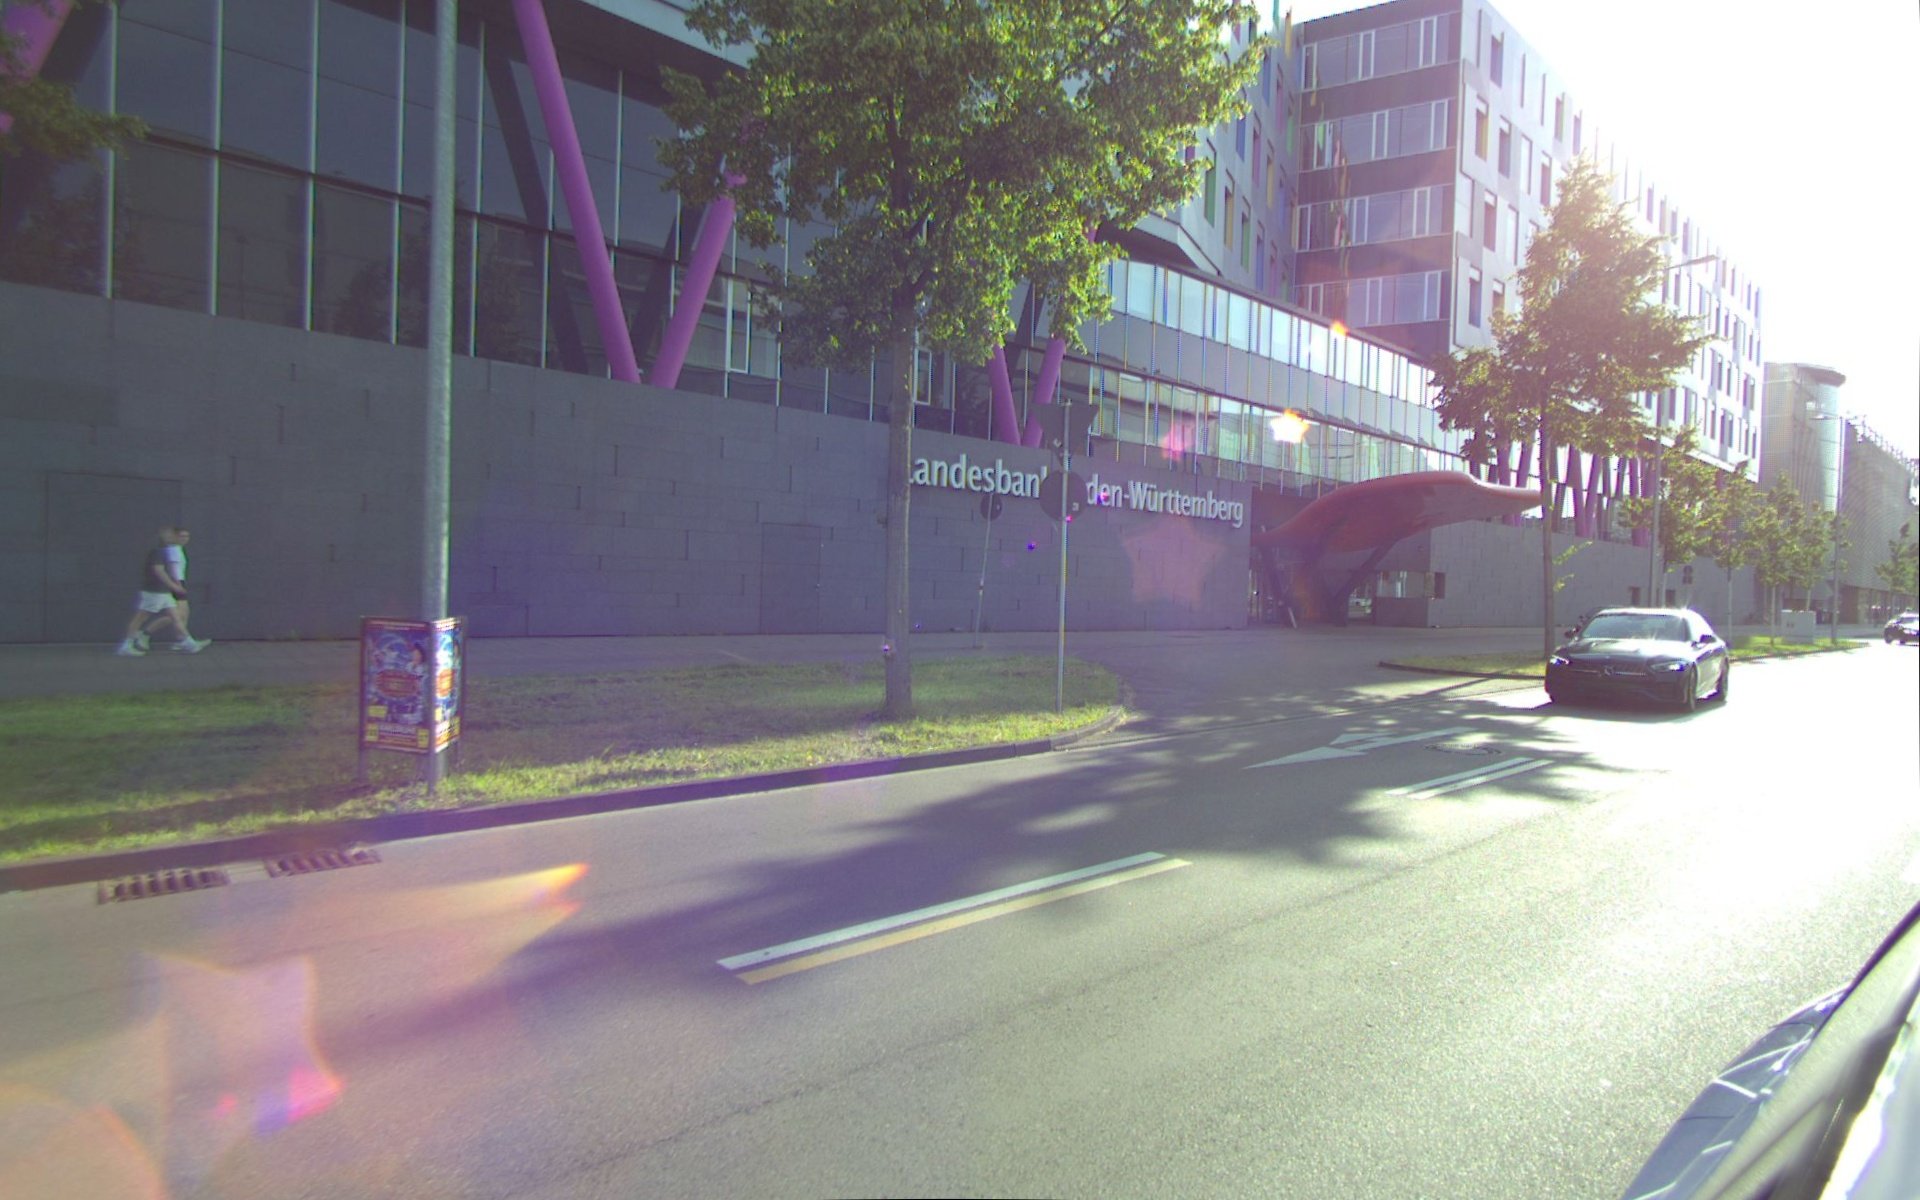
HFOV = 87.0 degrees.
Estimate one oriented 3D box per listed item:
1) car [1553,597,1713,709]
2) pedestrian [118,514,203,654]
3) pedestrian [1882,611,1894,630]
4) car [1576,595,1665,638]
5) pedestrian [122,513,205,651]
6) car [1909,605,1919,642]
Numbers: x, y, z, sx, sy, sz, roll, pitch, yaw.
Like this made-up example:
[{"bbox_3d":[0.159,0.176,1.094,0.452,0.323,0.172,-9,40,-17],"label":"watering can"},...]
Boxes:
[{"bbox_3d":[10.613,0.728,15.915,1.833,1.468,4.497,1,0,35],"label":"car"},{"bbox_3d":[-10.766,-0.225,13.629,0.829,1.815,0.756,1,3,-42],"label":"pedestrian"},{"bbox_3d":[92.696,2.034,101.062,0.758,1.809,0.725,1,1,-41],"label":"pedestrian"},{"bbox_3d":[23.806,0.590,36.416,4.126,1.407,1.694,1,1,-42],"label":"car"},{"bbox_3d":[-11.140,-0.264,14.154,0.838,1.847,0.769,1,3,-42],"label":"pedestrian"},{"bbox_3d":[46.213,1.108,47.734,4.401,1.443,1.891,-4,4,-44],"label":"car"}]
